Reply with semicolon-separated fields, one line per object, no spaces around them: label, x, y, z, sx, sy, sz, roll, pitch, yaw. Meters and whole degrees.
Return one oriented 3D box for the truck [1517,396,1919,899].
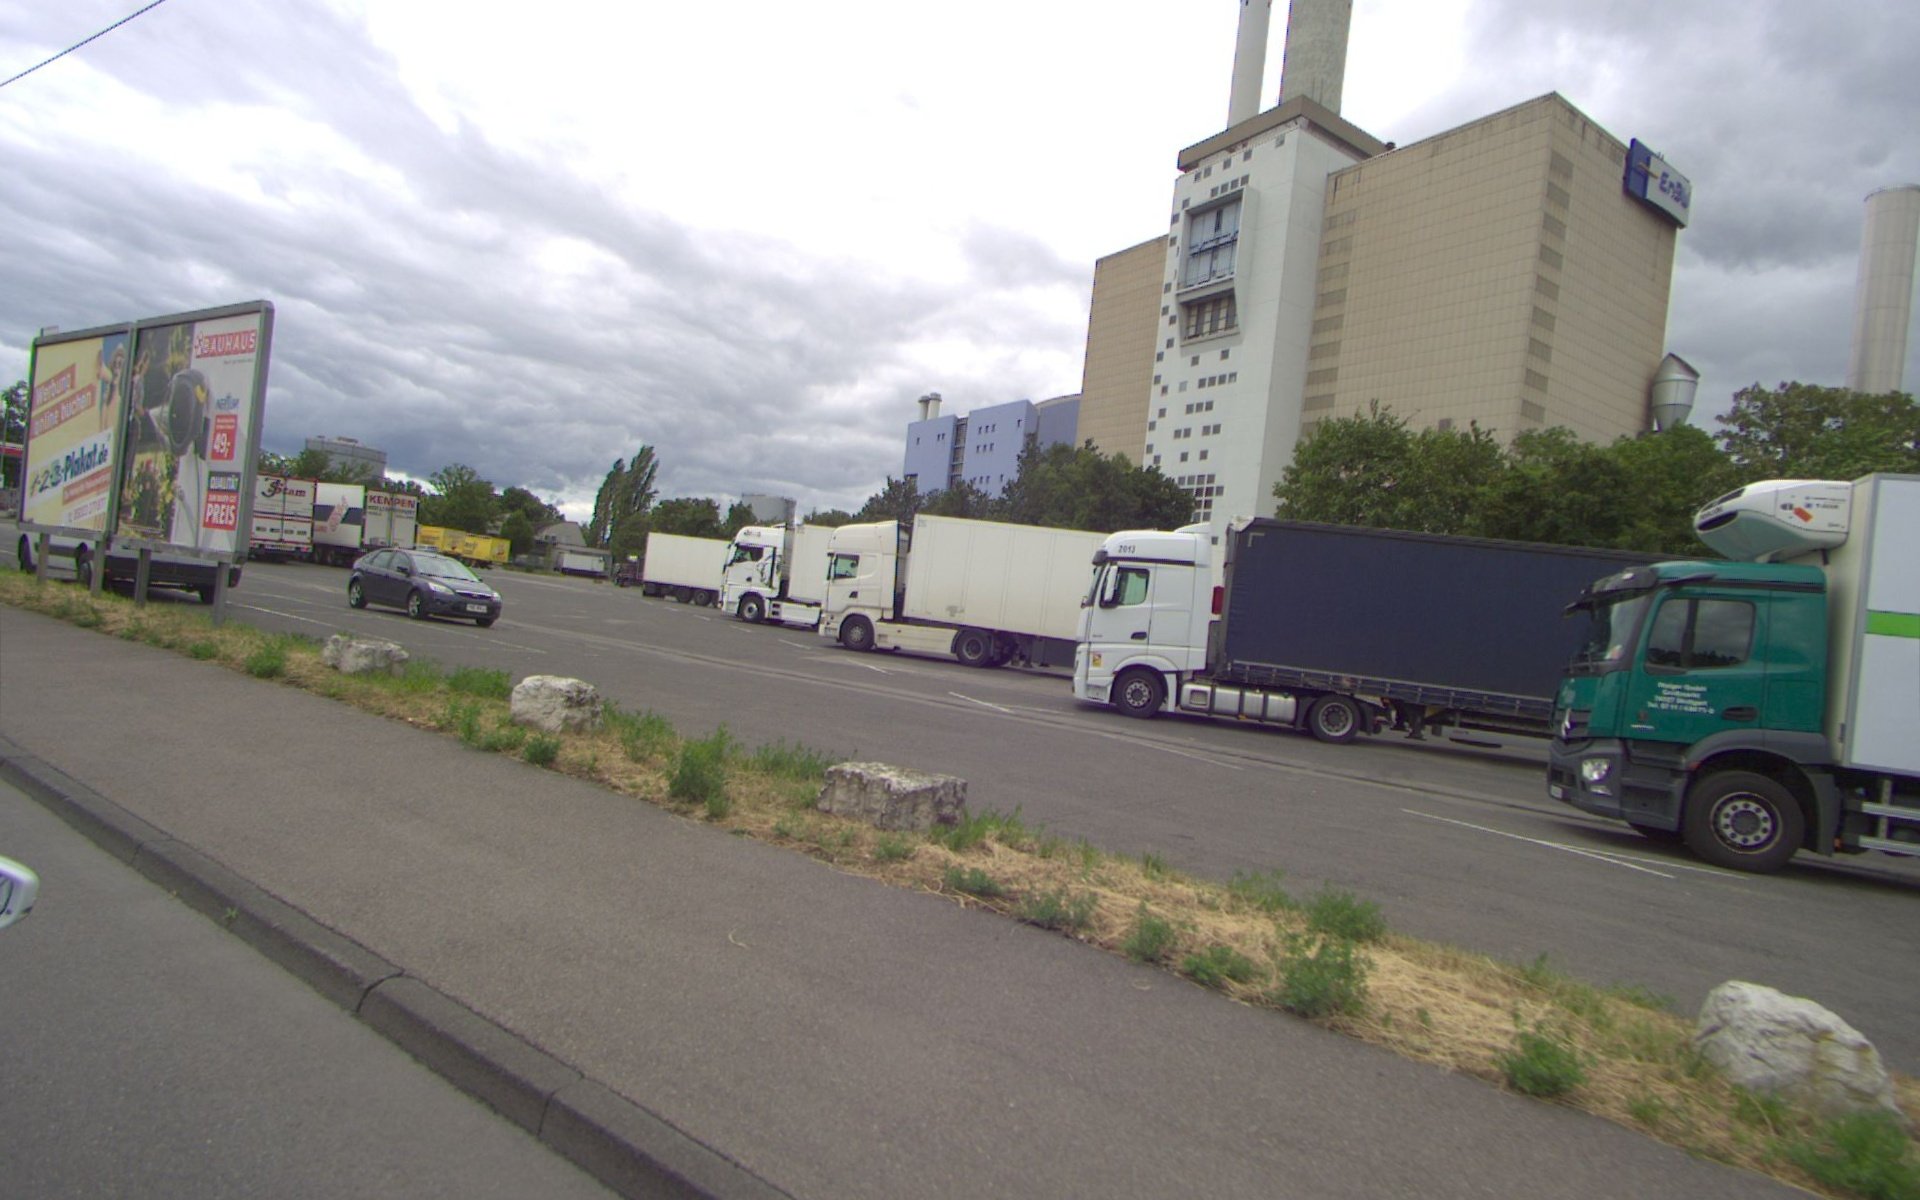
truck;11.730;0.864;9.705;10.362;4.484;2.991;7;-1;20

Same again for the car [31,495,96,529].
car;-58.059;-5.708;65.164;3.934;1.727;1.996;7;0;32

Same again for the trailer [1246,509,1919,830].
trailer;12.286;1.250;18.691;12.853;4.026;3.065;8;1;13

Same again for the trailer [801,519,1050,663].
trailer;-1.335;-0.367;38.853;8.771;4.242;2.769;8;1;17

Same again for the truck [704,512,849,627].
truck;-8.048;-1.284;44.463;5.140;4.267;2.788;8;1;14

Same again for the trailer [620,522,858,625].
trailer;-13.444;-1.642;60.656;14.147;4.259;3.110;8;1;19

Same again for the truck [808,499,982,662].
truck;-1.938;-0.540;30.448;4.002;4.265;2.707;8;1;21

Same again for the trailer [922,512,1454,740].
trailer;5.765;0.484;27.453;13.238;4.231;2.706;7;1;21

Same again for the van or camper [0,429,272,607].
van or camper;-15.404;-1.571;18.596;6.017;2.680;2.257;7;0;35

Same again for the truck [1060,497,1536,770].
truck;6.298;0.520;19.901;7.883;4.054;3.072;7;2;13

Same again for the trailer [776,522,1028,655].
trailer;-2.472;-0.496;43.038;9.945;4.242;2.769;8;1;14

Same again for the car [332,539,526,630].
car;-12.085;-0.378;22.826;4.357;1.461;1.893;7;-3;33

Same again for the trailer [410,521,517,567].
trailer;-62.320;-7.068;125.813;17.739;3.911;3.600;8;0;35

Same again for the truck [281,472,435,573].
truck;-30.176;-3.933;50.273;8.381;4.196;3.308;7;0;36

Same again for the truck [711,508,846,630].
truck;-7.299;-1.196;40.730;4.078;4.267;2.788;8;1;18

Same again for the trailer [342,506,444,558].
trailer;-62.267;-7.546;110.148;14.679;4.202;2.872;8;1;33

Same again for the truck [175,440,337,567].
truck;-33.279;-4.605;47.444;8.380;5.156;3.308;7;0;36

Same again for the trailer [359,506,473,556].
trailer;-62.739;-8.007;115.598;17.739;3.911;3.600;8;0;35

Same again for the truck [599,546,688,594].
truck;-38.842;-3.659;123.615;9.548;4.445;3.366;8;0;-28

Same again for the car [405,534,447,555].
car;-53.985;-5.579;101.721;3.936;1.638;1.995;7;0;34
